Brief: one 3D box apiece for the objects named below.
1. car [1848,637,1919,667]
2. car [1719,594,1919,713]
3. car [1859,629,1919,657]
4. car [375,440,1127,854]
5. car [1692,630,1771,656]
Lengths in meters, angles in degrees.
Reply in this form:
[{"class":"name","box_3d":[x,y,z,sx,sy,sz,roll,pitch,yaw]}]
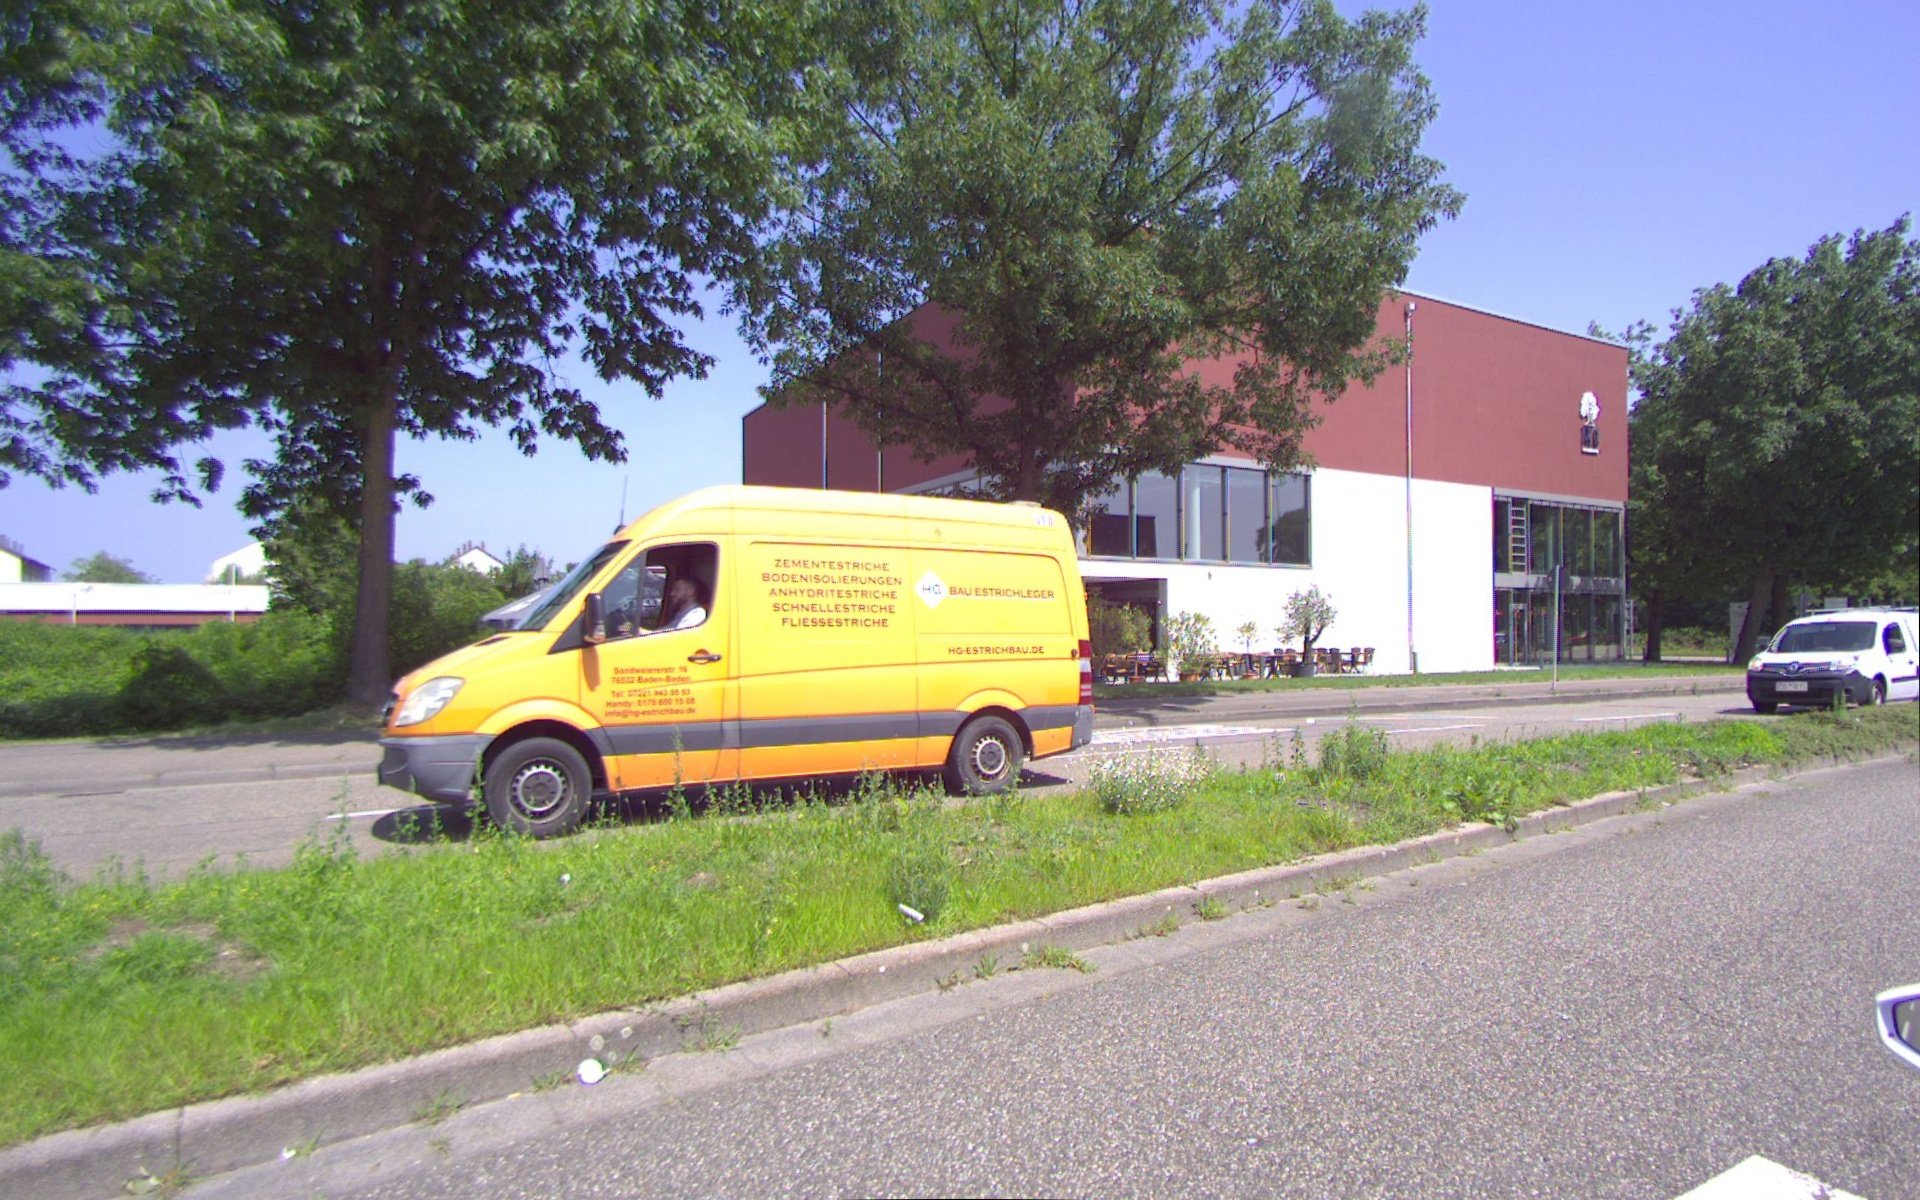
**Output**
[{"class":"car","box_3d":[59.245,3.307,63.509,1.793,1.704,4.340,2,0,-36]},{"class":"car","box_3d":[15.958,0.957,18.255,4.374,1.930,1.844,1,-4,-30]},{"class":"car","box_3d":[62.175,2.800,65.930,1.793,1.703,4.343,2,-6,-36]},{"class":"car","box_3d":[-1.614,0.375,8.799,5.985,2.601,2.255,1,-3,-30]},{"class":"car","box_3d":[56.629,3.165,73.793,1.795,1.704,4.335,2,-1,-39]}]
